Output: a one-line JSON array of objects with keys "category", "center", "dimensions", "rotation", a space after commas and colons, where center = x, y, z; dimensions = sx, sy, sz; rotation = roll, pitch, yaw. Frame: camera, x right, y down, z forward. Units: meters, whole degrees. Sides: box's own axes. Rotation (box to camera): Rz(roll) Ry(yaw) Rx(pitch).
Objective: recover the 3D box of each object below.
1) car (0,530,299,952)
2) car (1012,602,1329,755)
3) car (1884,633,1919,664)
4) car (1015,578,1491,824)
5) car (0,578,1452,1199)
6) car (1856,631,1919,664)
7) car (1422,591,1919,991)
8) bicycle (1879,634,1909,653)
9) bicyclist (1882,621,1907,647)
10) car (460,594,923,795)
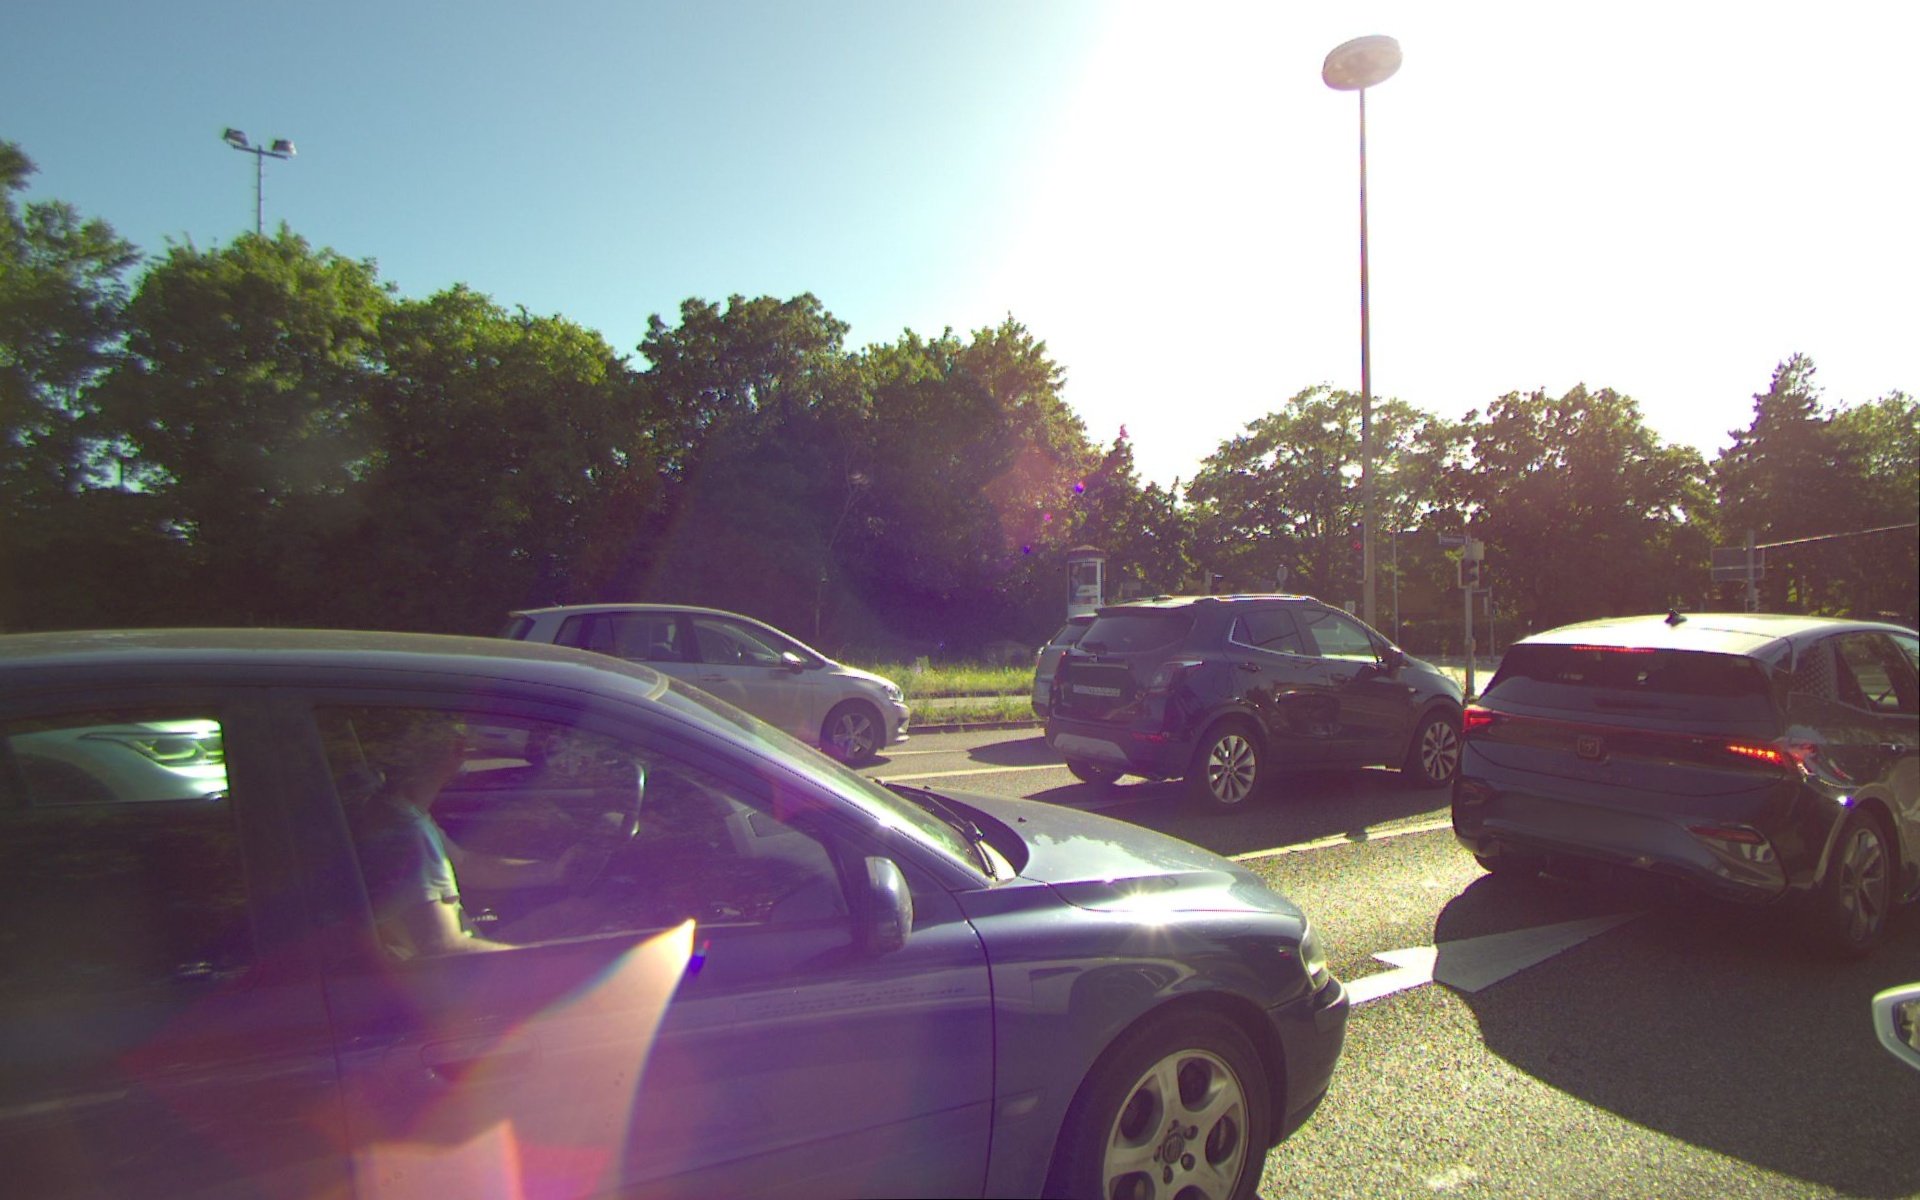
[{"category": "car", "center": [-5.558, 0.584, 4.327], "dimensions": [4.373, 1.732, 1.984], "rotation": [1, -2, -30]}, {"category": "car", "center": [2.806, 0.945, 13.181], "dimensions": [3.956, 1.724, 1.820], "rotation": [1, -2, -32]}, {"category": "car", "center": [48.948, 2.458, 51.204], "dimensions": [3.957, 1.529, 1.678], "rotation": [1, -2, -31]}, {"category": "car", "center": [2.616, 0.762, 8.794], "dimensions": [3.953, 1.711, 1.796], "rotation": [1, -2, -30]}, {"category": "car", "center": [-1.099, 0.719, 2.200], "dimensions": [4.404, 1.471, 1.767], "rotation": [2, 0, -30]}, {"category": "car", "center": [44.703, 2.254, 48.016], "dimensions": [3.956, 1.529, 1.678], "rotation": [1, -2, -30]}, {"category": "car", "center": [4.737, 0.821, 5.815], "dimensions": [4.158, 1.601, 1.676], "rotation": [2, -1, -30]}, {"category": "bicycle", "center": [59.596, 2.773, 64.075], "dimensions": [2.511, 1.228, 0.870], "rotation": [1, -2, -35]}, {"category": "bicyclist", "center": [59.564, 2.163, 64.026], "dimensions": [1.187, 1.670, 0.870], "rotation": [1, -2, -35]}, {"category": "car", "center": [-2.617, 0.828, 10.004], "dimensions": [4.156, 1.632, 1.822], "rotation": [1, -2, -30]}]
